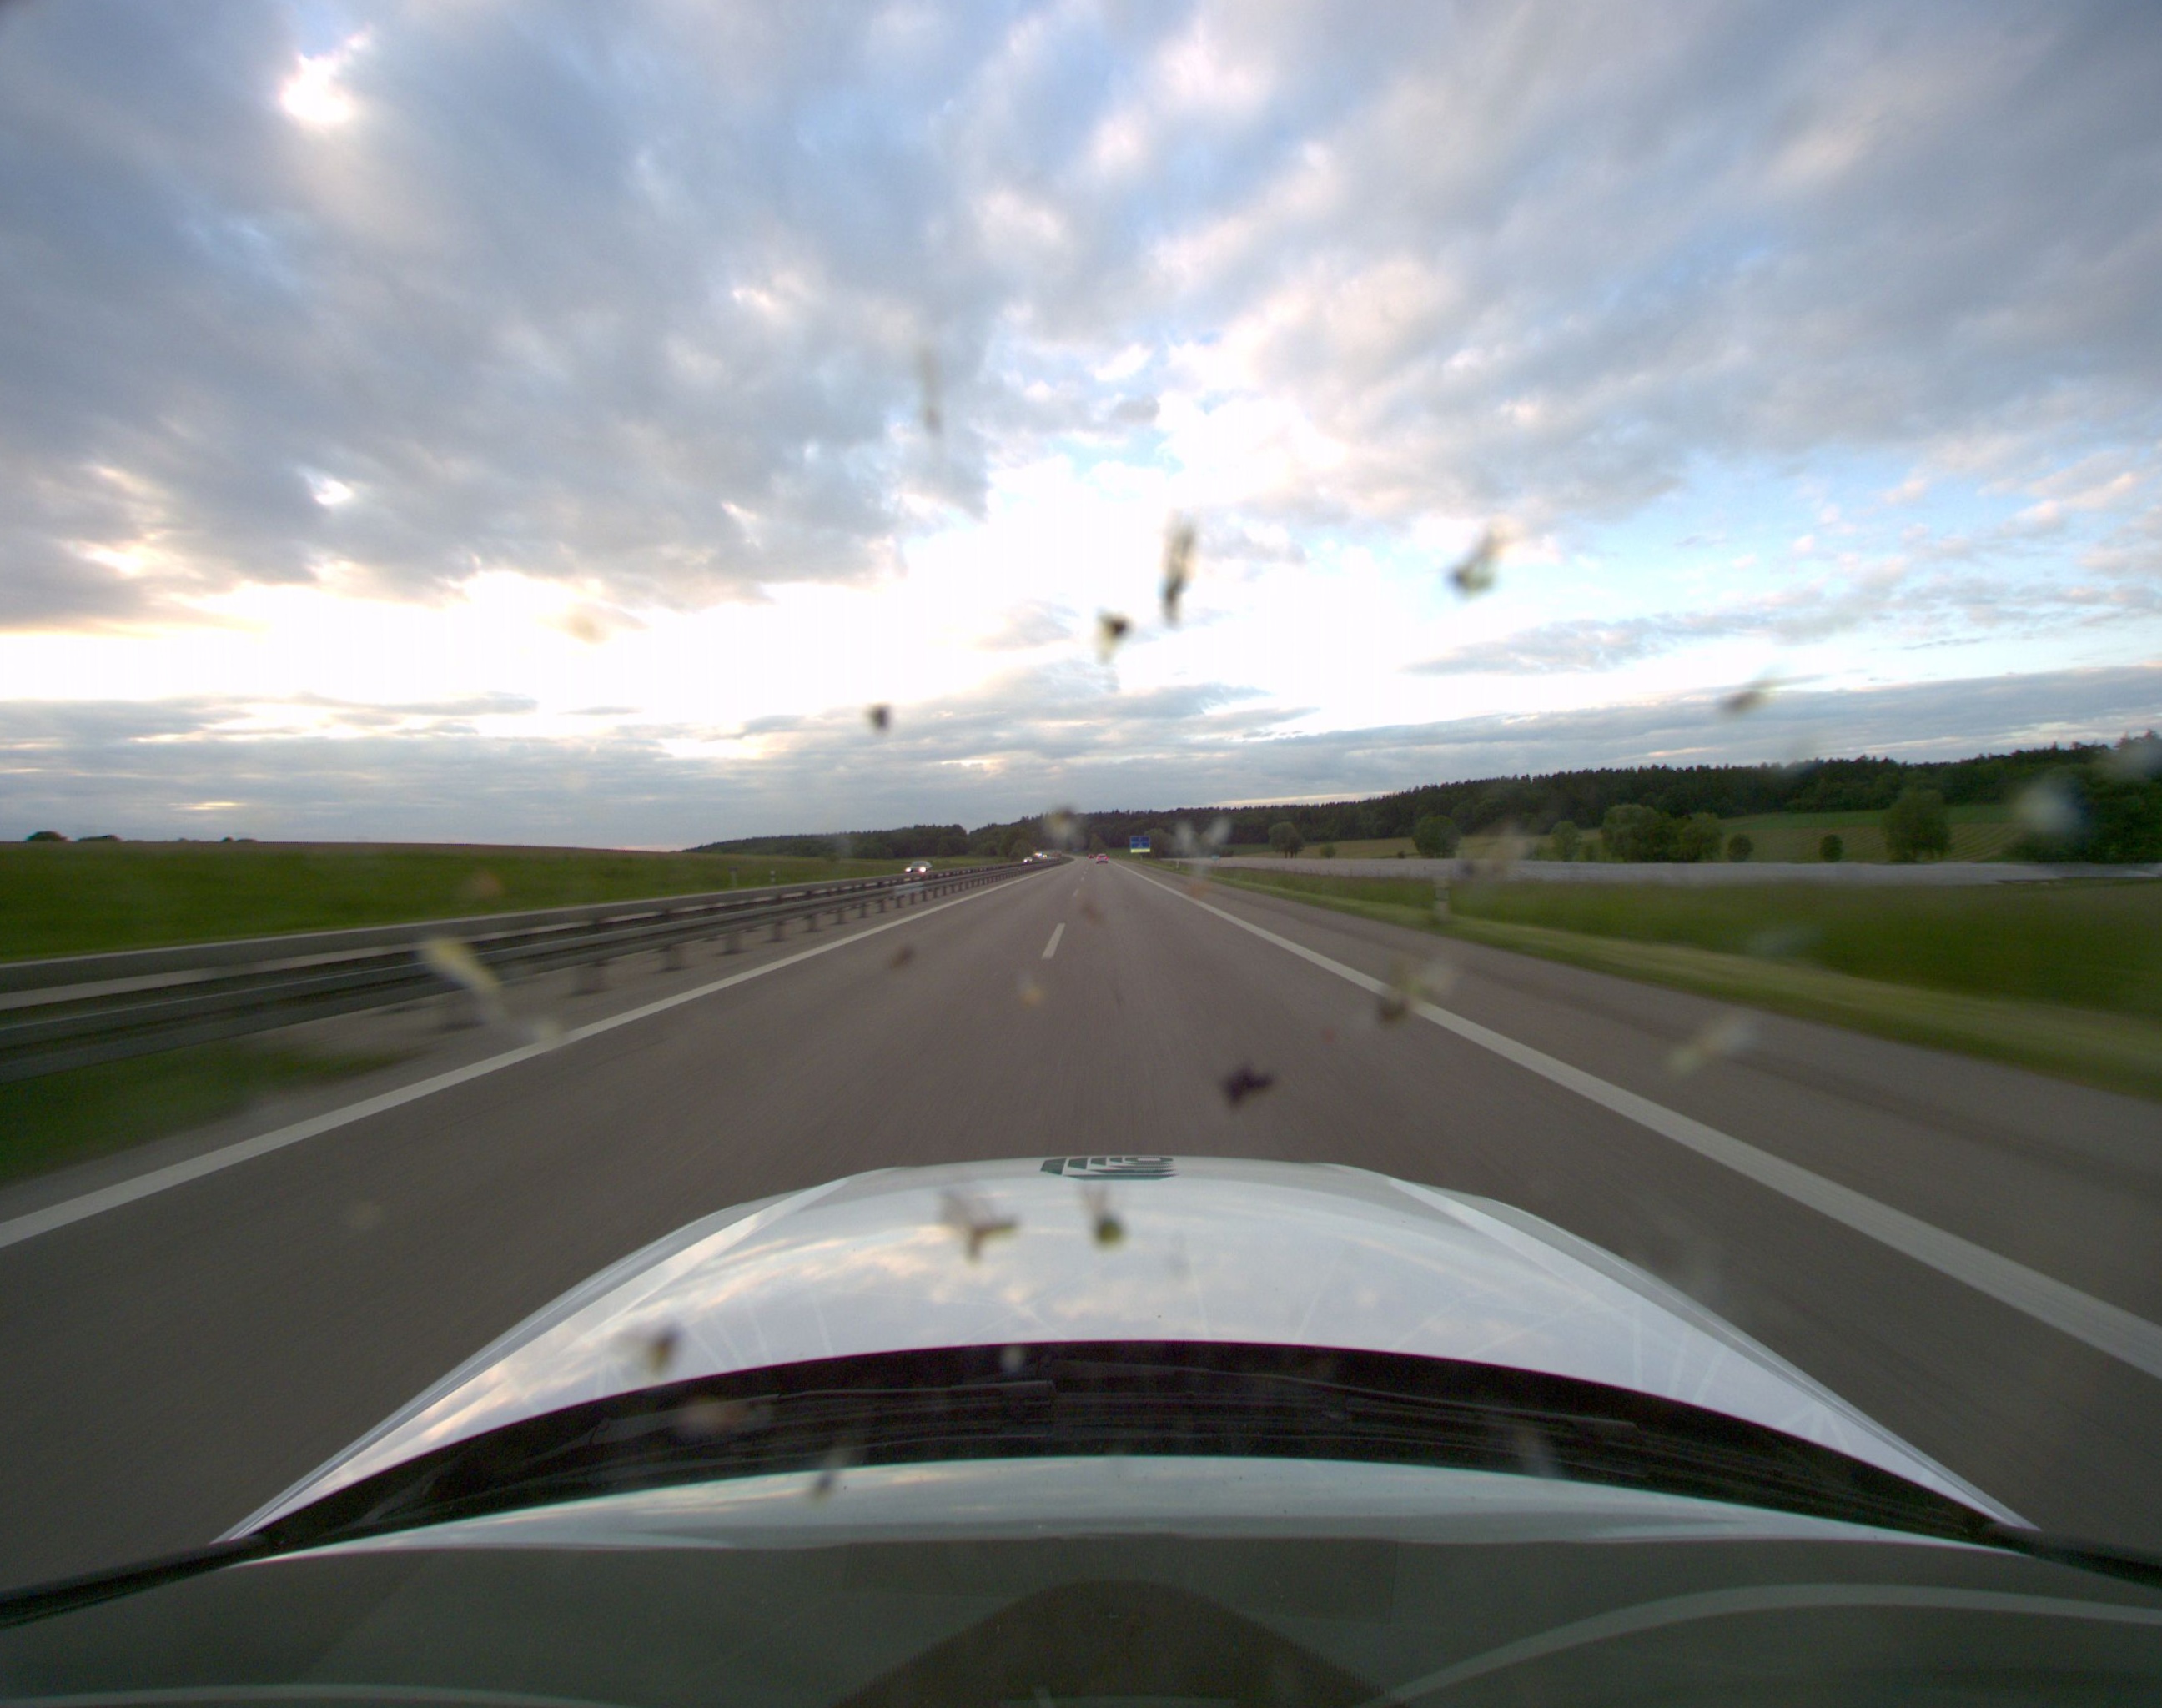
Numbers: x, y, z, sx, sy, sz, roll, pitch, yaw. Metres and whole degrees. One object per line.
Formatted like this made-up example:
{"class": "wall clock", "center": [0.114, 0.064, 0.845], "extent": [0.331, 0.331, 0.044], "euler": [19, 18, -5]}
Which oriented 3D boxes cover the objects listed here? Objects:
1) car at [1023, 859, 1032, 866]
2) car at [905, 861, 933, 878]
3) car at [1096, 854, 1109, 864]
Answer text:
{"class": "car", "center": [-13.341, 2.067, 203.304], "extent": [1.784, 1.699, 4.591], "euler": [0, 0, 1]}
{"class": "car", "center": [-14.502, 1.396, 73.234], "extent": [1.668, 1.360, 4.011], "euler": [1, 0, 0]}
{"class": "car", "center": [3.418, 0.810, 131.194], "extent": [1.946, 1.531, 4.078], "euler": [0, 0, -1]}
